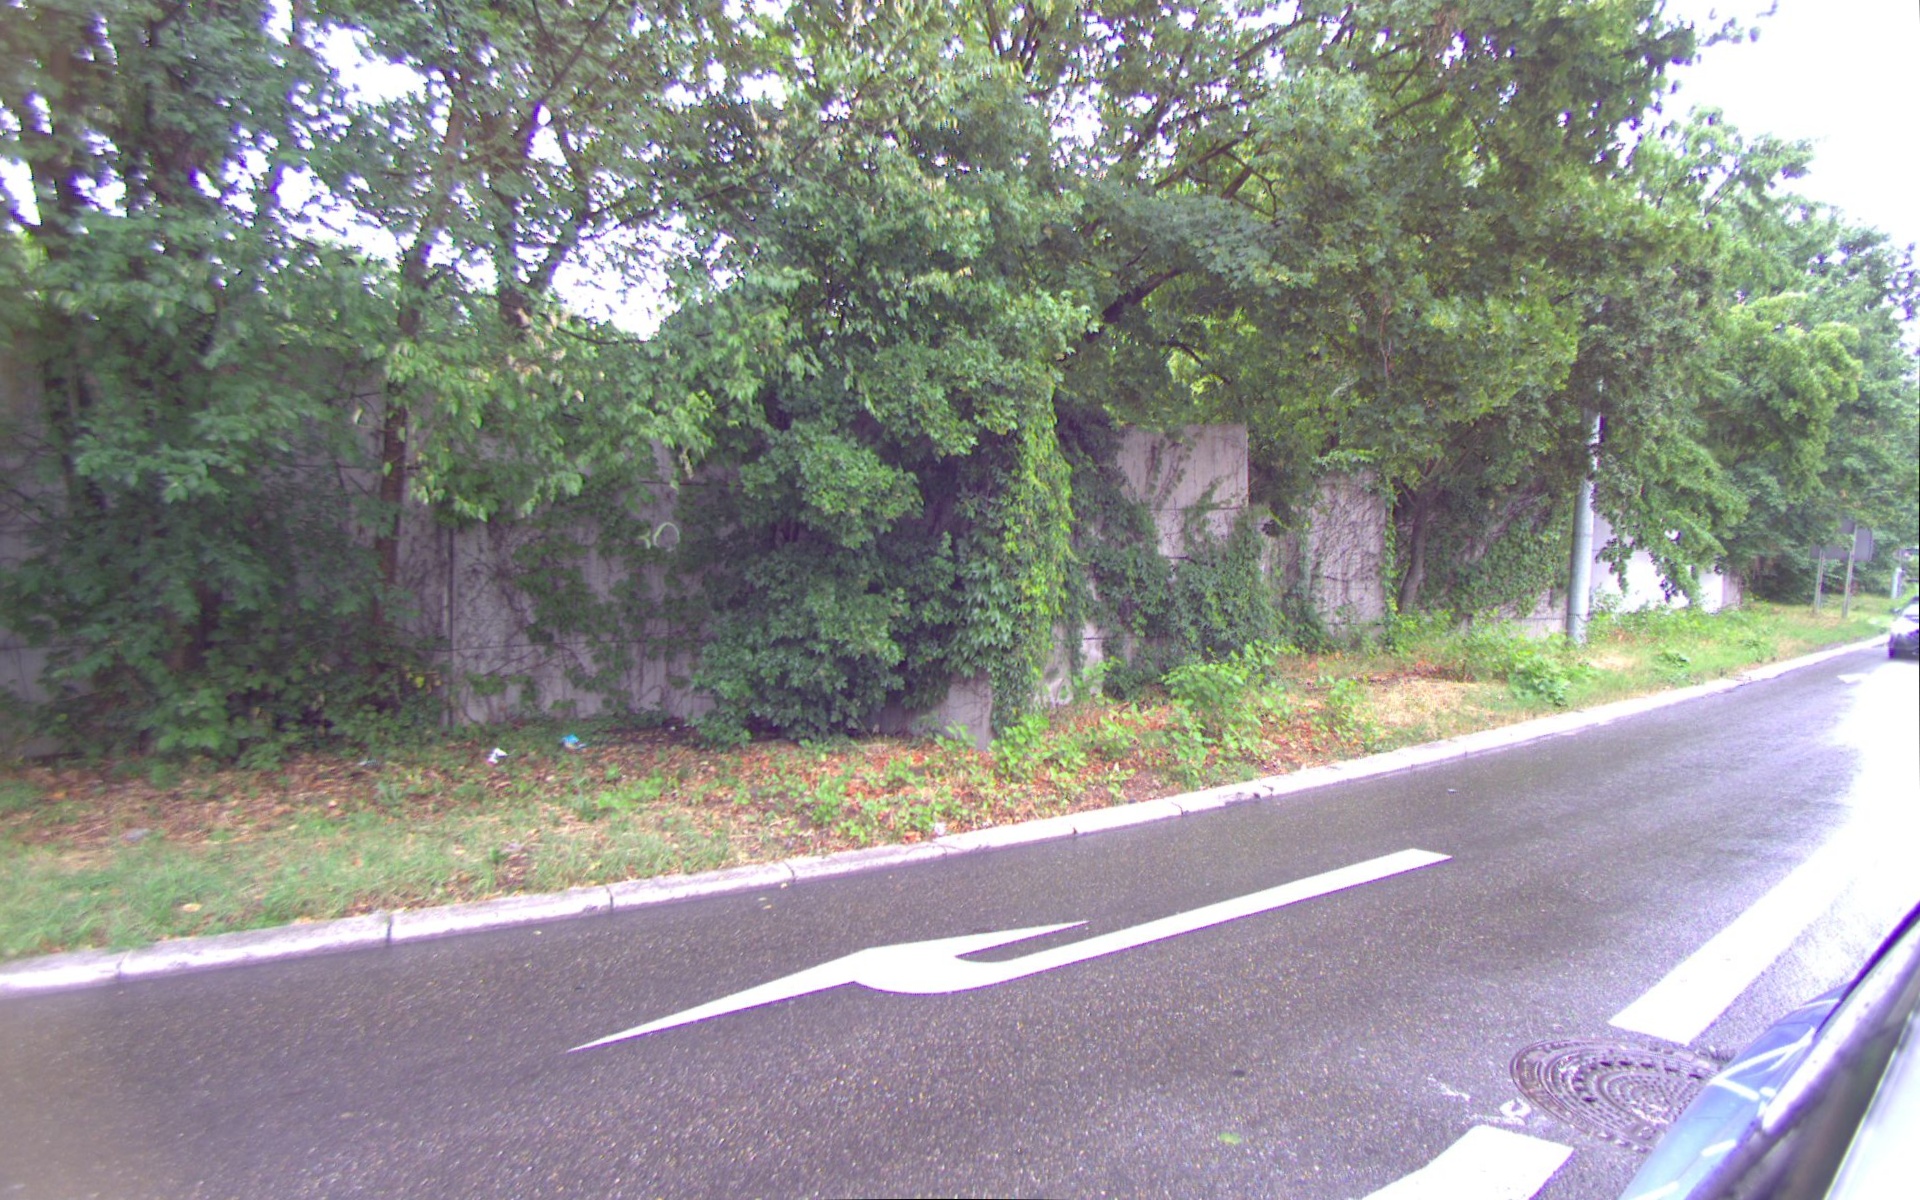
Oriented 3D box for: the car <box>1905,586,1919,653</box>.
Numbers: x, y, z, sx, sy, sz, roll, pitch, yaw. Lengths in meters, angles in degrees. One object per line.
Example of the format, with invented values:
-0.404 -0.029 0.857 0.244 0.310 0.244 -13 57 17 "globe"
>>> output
22.283 0.425 22.366 4.339 1.421 1.750 1 -2 -43 "car"
